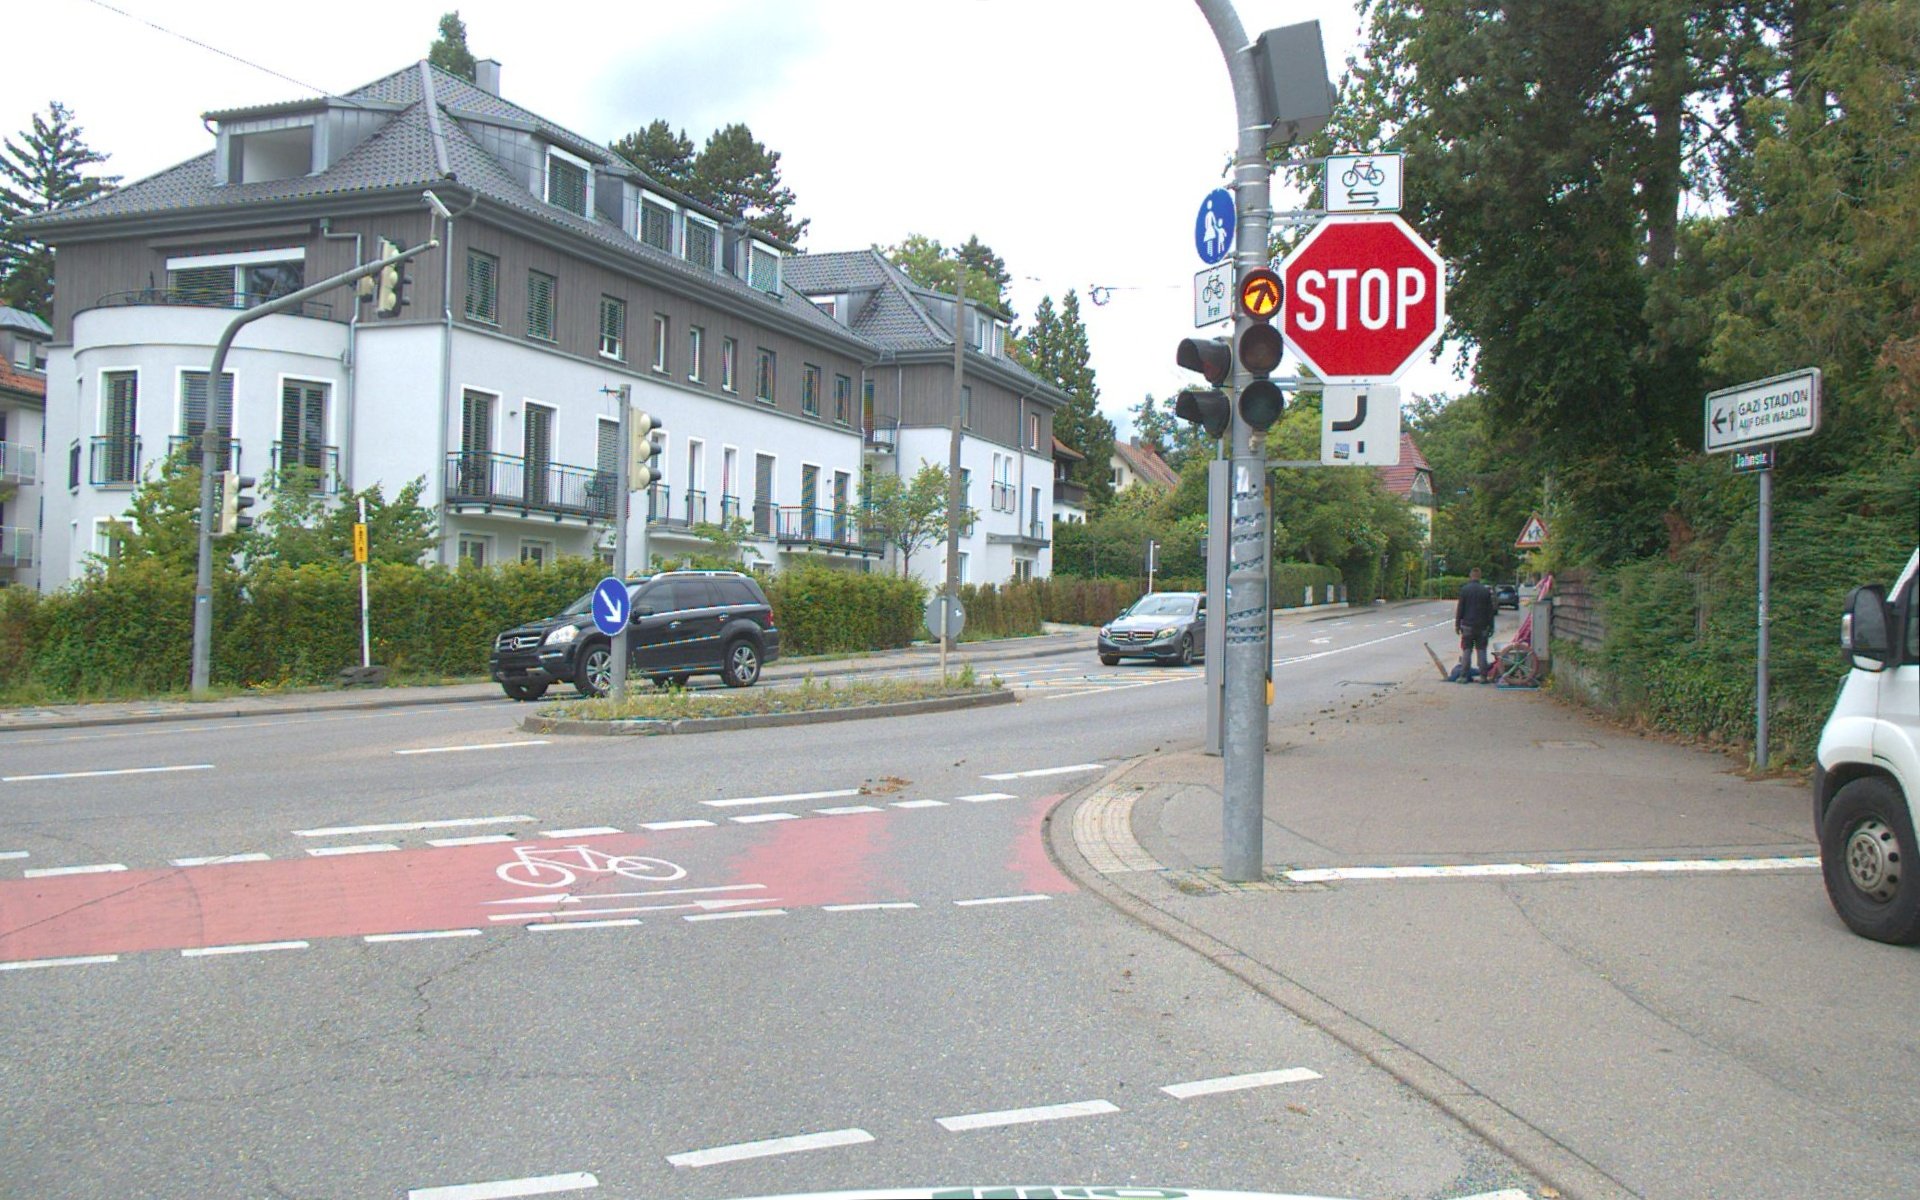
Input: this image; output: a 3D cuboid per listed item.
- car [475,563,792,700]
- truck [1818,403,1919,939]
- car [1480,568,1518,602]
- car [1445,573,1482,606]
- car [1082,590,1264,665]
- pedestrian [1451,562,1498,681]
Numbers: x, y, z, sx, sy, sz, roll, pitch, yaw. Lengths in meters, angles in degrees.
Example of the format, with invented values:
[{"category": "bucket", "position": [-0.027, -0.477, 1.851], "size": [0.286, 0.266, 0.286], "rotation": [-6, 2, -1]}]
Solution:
[{"category": "car", "position": [-4.949, 0.459, 25.860], "size": [1.878, 1.913, 5.128], "rotation": [-1, -1, 32]}, {"category": "truck", "position": [5.138, 0.316, 5.027], "size": [2.162, 2.283, 5.724], "rotation": [1, 0, 1]}, {"category": "car", "position": [34.460, -0.944, 105.646], "size": [1.953, 2.049, 3.999], "rotation": [1, 0, 23]}, {"category": "car", "position": [28.154, -0.608, 92.438], "size": [1.770, 1.784, 4.488], "rotation": [-1, 0, 19]}, {"category": "car", "position": [4.553, 0.526, 34.696], "size": [1.905, 1.428, 4.728], "rotation": [1, 1, 34]}, {"category": "pedestrian", "position": [8.553, 0.356, 27.526], "size": [0.584, 1.940, 0.558], "rotation": [1, 0, 0]}]
